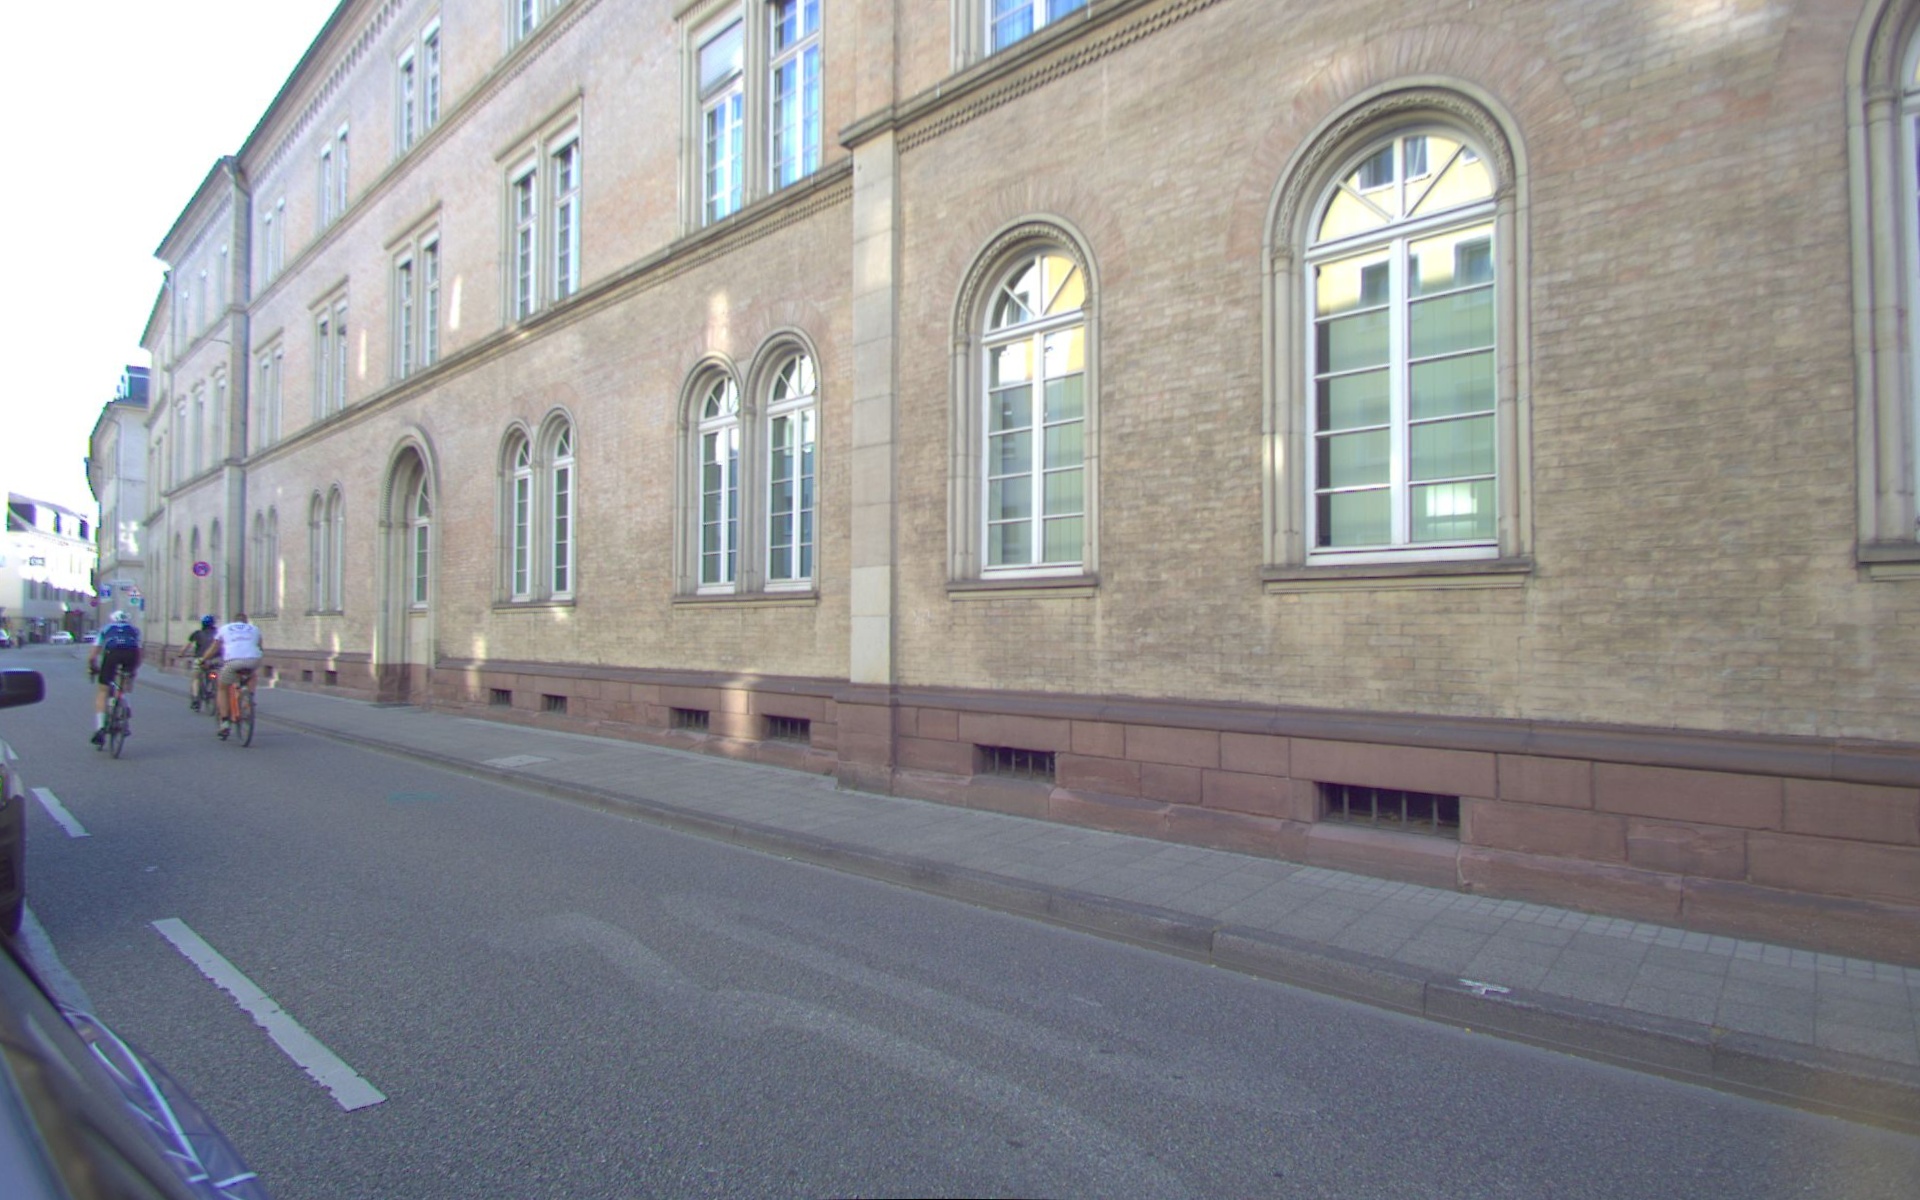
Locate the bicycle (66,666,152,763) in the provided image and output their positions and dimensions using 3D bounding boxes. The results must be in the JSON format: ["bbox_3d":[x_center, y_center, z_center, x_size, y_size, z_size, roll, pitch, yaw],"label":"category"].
[{"bbox_3d":[-9.943,1.305,11.809,1.757,1.014,0.539,-2,-5,44],"label":"bicycle"}]

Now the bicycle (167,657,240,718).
[{"bbox_3d":[-13.535,1.546,18.098,1.875,1.014,0.643,-2,-5,42],"label":"bicycle"}]

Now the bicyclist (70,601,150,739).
[{"bbox_3d":[-9.971,0.813,11.871,0.869,1.545,0.539,-2,-5,44],"label":"bicyclist"}]

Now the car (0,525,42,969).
[{"bbox_3d":[-6.523,0.653,5.392,5.338,1.850,1.795,-2,-3,41],"label":"car"}]

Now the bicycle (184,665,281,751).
[{"bbox_3d":[-9.633,1.396,13.373,1.806,1.014,0.643,-2,-5,43],"label":"bicycle"}]

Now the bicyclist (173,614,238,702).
[{"bbox_3d":[-13.511,1.036,18.114,1.111,1.520,0.643,-2,-5,42],"label":"bicyclist"}]

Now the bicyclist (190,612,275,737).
[{"bbox_3d":[-9.640,0.979,13.403,0.961,1.579,0.643,-2,-5,43],"label":"bicyclist"}]
